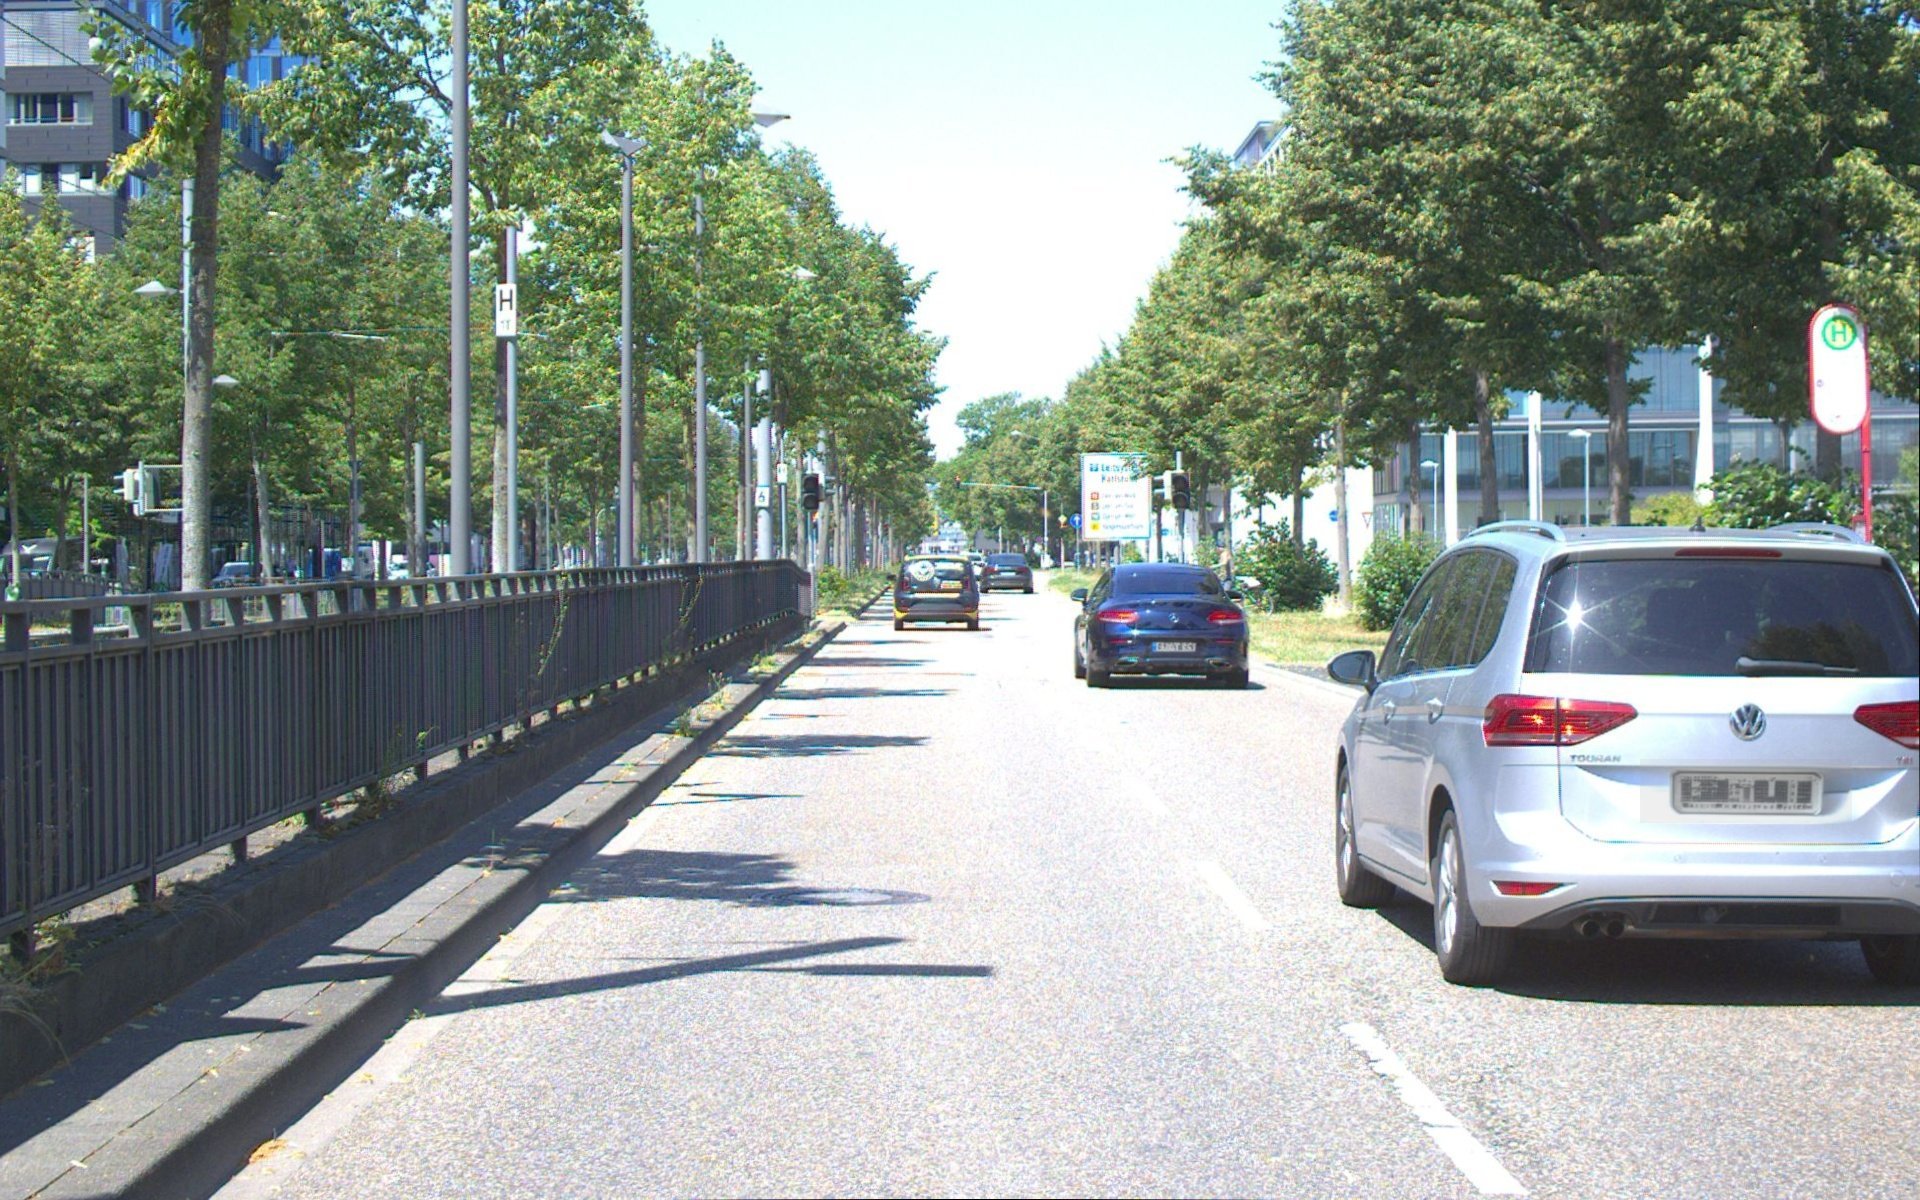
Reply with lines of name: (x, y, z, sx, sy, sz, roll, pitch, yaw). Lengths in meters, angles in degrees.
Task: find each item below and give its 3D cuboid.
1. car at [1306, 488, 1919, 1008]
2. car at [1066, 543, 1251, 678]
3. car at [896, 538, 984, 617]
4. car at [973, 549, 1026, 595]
car: (2.511, 0.481, 13.502, 1.800, 1.643, 4.604, 2, 0, 0)
car: (2.211, 0.082, 39.375, 1.852, 1.431, 4.955, -1, 1, 0)
car: (-0.393, -0.422, 66.141, 1.618, 1.446, 3.986, -1, 0, -1)
car: (1.401, -1.005, 123.374, 1.766, 1.621, 3.716, -1, 0, -2)
